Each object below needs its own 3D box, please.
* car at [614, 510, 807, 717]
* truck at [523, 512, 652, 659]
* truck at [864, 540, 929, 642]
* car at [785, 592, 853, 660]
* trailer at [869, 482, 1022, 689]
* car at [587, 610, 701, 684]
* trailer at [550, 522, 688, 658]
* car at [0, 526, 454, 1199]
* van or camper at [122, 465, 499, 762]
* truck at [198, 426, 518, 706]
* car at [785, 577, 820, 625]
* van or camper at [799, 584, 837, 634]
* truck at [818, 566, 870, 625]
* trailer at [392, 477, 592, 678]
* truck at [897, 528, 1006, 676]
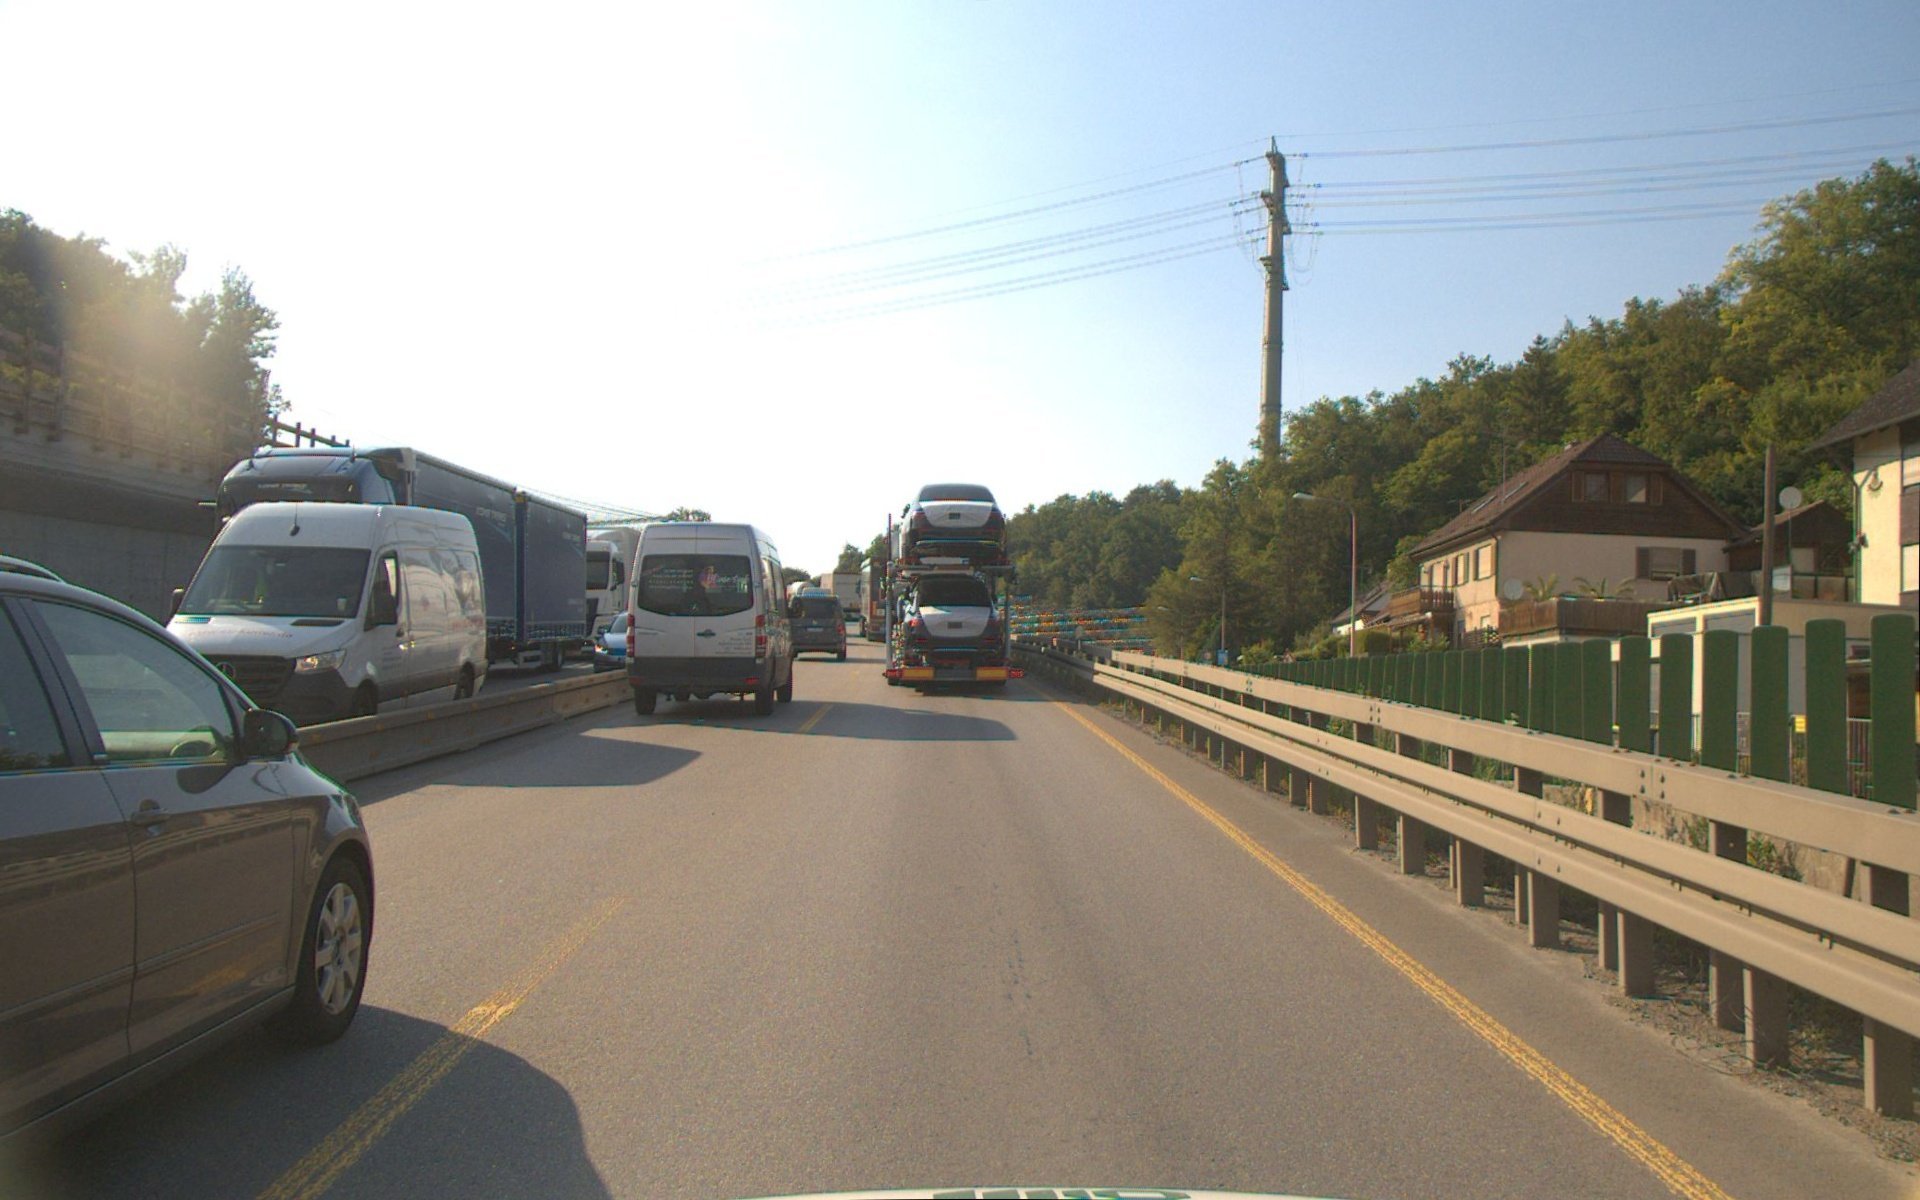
[{"bbox_3d":[-3.595,0.209,24.921,1.953,2.694,5.530,2,-1,0],"label":"car"},{"bbox_3d":[-11.537,-0.340,51.752,2.656,4.164,6.199,4,-2,-3],"label":"truck"},{"bbox_3d":[-3.185,-0.379,81.952,2.849,4.687,7.281,3,-1,-3],"label":"truck"},{"bbox_3d":[-4.411,0.858,52.251,1.772,1.937,3.998,4,-2,-1],"label":"car"},{"bbox_3d":[-0.201,-0.068,36.919,2.627,3.597,15.286,1,-1,0],"label":"trailer"},{"bbox_3d":[-7.193,1.081,38.065,1.736,1.564,4.401,2,-2,0],"label":"car"},{"bbox_3d":[-11.901,-0.159,59.044,2.656,4.164,12.560,4,-2,-3],"label":"trailer"},{"bbox_3d":[-2.807,0.642,4.340,1.646,1.616,4.271,1,0,-1],"label":"car"},{"bbox_3d":[-6.849,0.148,18.328,1.953,2.754,5.955,0,-1,-1],"label":"van or camper"},{"bbox_3d":[-10.311,-0.468,29.615,2.571,4.185,9.622,0,-1,-3],"label":"truck"},{"bbox_3d":[-17.634,0.138,185.875,3.377,5.123,9.645,3,-1,-4],"label":"car"},{"bbox_3d":[-8.035,0.571,93.883,1.930,2.637,5.036,4,-2,-4],"label":"van or camper"},{"bbox_3d":[-10.174,-0.345,143.763,3.987,4.761,10.578,3,-1,-6],"label":"truck"},{"bbox_3d":[-10.804,-0.430,39.241,2.554,4.185,9.620,0,-1,-4],"label":"trailer"},{"bbox_3d":[-0.182,0.146,44.491,2.627,3.597,7.192,1,-2,0],"label":"truck"}]
